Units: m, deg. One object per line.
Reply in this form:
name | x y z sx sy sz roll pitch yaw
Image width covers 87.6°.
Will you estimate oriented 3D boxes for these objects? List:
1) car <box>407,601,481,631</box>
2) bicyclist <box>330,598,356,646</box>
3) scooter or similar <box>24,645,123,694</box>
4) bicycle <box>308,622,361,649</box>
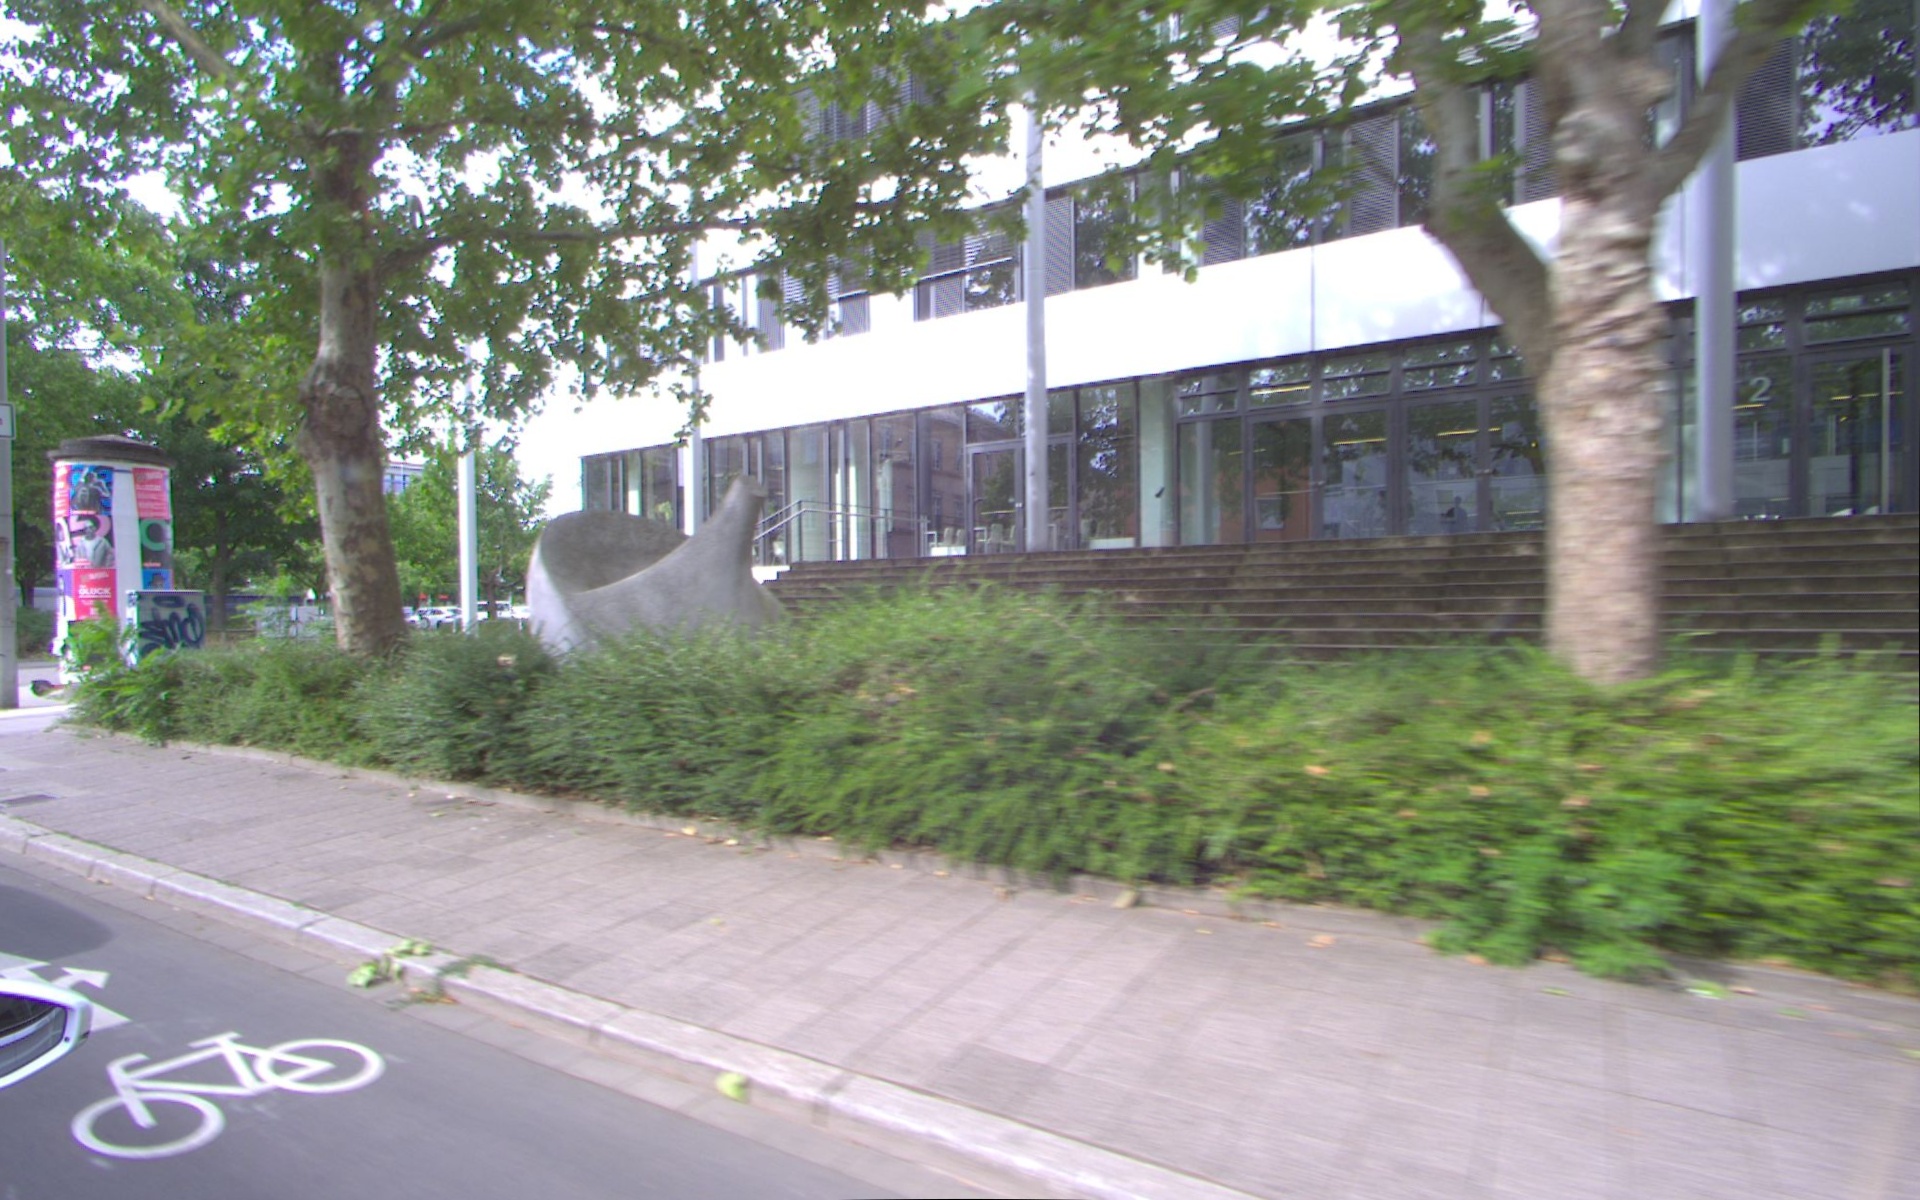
car | -30.130 0.915 58.469 4.091 1.673 1.958 0 0 30
bicyclist | -21.600 0.764 35.054 0.528 1.640 0.567 0 1 32
scooter or similar | -15.181 1.176 17.172 0.364 0.746 1.216 0 0 31
bicycle | -21.749 1.223 34.812 0.547 0.897 1.467 0 0 32
